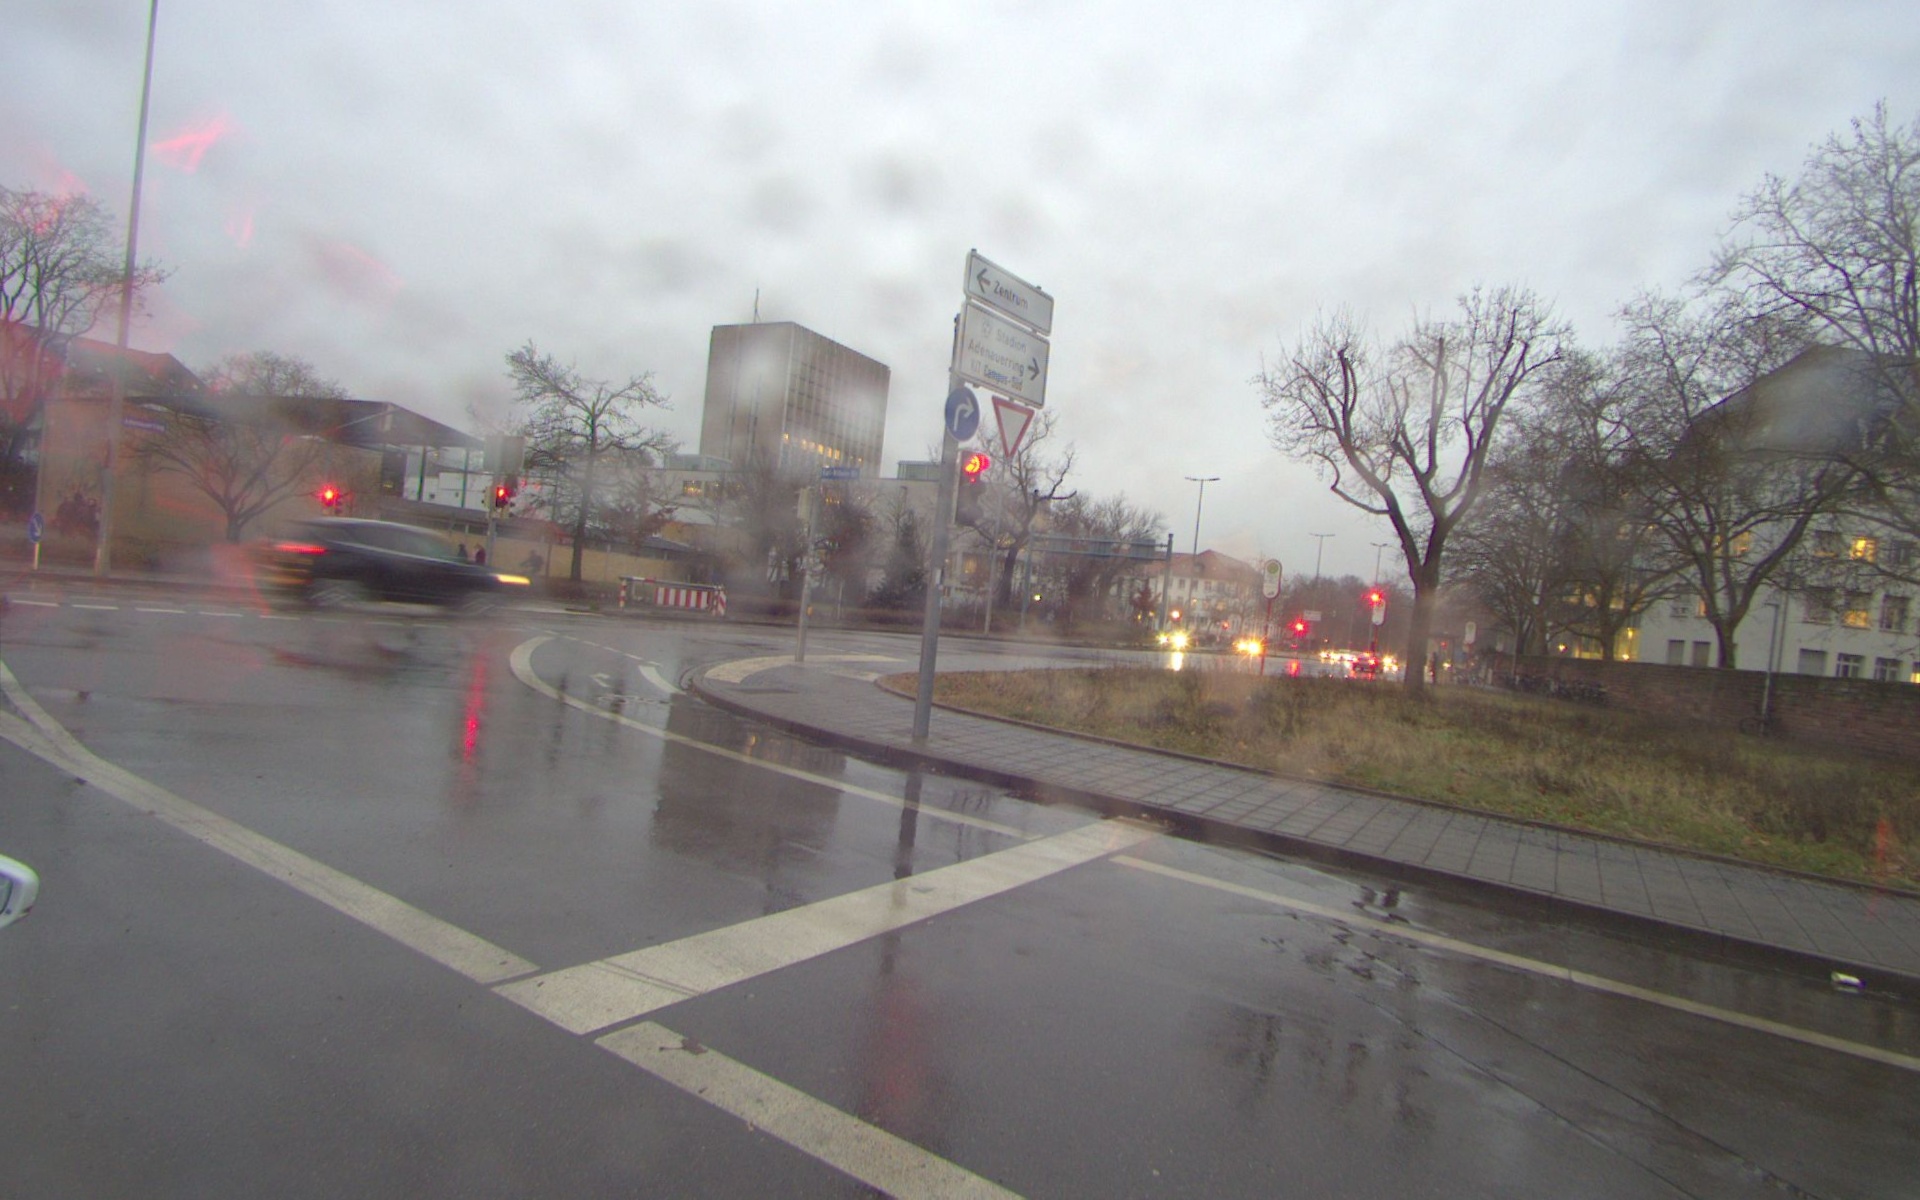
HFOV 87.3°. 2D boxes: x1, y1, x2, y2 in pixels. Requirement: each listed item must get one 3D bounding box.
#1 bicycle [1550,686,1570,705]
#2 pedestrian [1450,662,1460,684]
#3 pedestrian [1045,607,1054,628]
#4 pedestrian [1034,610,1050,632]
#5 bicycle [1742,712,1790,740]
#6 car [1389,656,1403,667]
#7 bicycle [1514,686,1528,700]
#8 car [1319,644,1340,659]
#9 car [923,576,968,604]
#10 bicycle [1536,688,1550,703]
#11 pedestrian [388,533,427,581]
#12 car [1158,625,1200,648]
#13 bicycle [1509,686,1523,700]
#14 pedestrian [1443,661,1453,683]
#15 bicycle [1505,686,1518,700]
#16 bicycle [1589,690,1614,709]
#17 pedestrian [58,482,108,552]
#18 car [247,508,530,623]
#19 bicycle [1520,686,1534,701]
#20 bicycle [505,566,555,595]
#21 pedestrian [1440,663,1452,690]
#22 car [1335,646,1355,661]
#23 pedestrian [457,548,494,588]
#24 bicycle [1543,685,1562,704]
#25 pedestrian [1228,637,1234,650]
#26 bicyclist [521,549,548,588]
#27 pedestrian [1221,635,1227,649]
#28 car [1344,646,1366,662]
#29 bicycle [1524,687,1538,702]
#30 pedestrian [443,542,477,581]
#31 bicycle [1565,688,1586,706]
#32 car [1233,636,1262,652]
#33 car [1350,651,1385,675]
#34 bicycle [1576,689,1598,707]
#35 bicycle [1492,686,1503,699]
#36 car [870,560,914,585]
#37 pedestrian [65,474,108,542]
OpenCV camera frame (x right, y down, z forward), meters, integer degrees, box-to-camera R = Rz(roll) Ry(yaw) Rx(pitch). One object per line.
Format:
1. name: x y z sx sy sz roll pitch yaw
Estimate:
1. bicycle: 31.358 4.984 52.557 0.387 0.868 1.532 7 -2 15
2. pedestrian: 45.699 6.730 92.824 0.557 2.040 0.595 8 2 33
3. pedestrian: 7.709 1.511 86.634 0.411 1.725 0.430 8 3 44
4. pedestrian: 6.743 1.728 82.752 0.783 1.624 0.960 8 2 39
5. bicycle: 28.203 4.402 35.226 0.387 0.834 1.386 7 -2 -4
6. car: 71.282 10.012 164.455 1.745 1.495 3.915 7 1 27
7. bicycle: 33.830 5.619 60.664 0.387 0.795 1.532 7 -2 20
8. car: 49.288 6.876 134.148 1.966 1.783 3.992 7 1 29
9. car: -1.445 -0.997 103.146 2.014 2.452 5.326 6 0 30
10. bicycle: 32.414 5.295 55.953 0.387 0.795 1.607 7 -2 22
11. pedestrian: -22.793 -1.760 41.499 0.904 1.823 0.997 7 2 32
12. car: 17.423 2.909 79.918 1.781 1.496 4.416 6 0 32
13. bicycle: 34.351 5.747 62.152 0.387 0.795 1.532 7 -2 20
14. pedestrian: 45.184 6.675 93.162 0.557 2.040 0.595 8 2 33
15. bicycle: 34.852 5.872 63.626 0.387 0.795 1.532 7 -2 20
16. bicycle: 30.276 4.676 47.476 0.352 0.795 1.415 7 -2 8
17. pedestrian: -28.556 -2.691 32.771 0.871 2.141 0.893 7 2 32
18. car: -10.865 -0.605 19.380 1.815 1.710 4.303 6 0 40
19. bicycle: 33.324 5.492 59.145 0.387 0.795 1.532 7 -2 20
20. bicycle: -18.757 -0.832 43.900 0.649 1.061 1.884 7 1 33
21. pedestrian: 30.153 4.738 62.419 0.462 1.623 0.486 7 -1 25
22. car: 54.117 7.546 141.339 1.966 1.783 3.992 7 1 29
23. pedestrian: -20.754 -1.358 43.112 1.025 1.553 0.925 7 2 32
24. bicycle: 31.843 5.079 54.088 0.387 0.927 1.532 7 -2 15
25. pedestrian: 34.276 5.501 127.245 0.404 1.713 0.427 7 2 28
26. bicyclist: -18.612 -1.382 44.004 0.649 1.620 0.685 7 2 33
27. pedestrian: 32.971 5.262 125.668 0.404 1.713 0.561 7 2 28
28. car: 51.647 7.084 131.492 1.966 1.783 3.992 7 1 29
29. bicycle: 32.842 5.409 57.867 0.387 0.795 1.532 7 -2 19
30. pedestrian: -21.629 -1.652 43.493 0.871 1.553 0.893 7 2 32
31. bicycle: 31.039 4.880 50.745 0.343 0.848 1.493 7 -2 13
32. car: 30.806 4.732 107.698 1.781 1.496 4.418 6 0 30
33. car: 33.596 5.220 82.887 1.811 1.710 4.311 6 0 32
34. bicycle: 30.550 4.773 49.001 0.387 0.795 1.533 7 -2 14
35. bicycle: 36.392 6.253 68.107 0.387 0.795 1.532 7 -2 20
36. car: -7.146 -2.917 106.380 2.014 2.102 4.892 6 0 30
37. pedestrian: -29.124 -3.067 33.555 0.874 2.141 0.890 8 2 44
